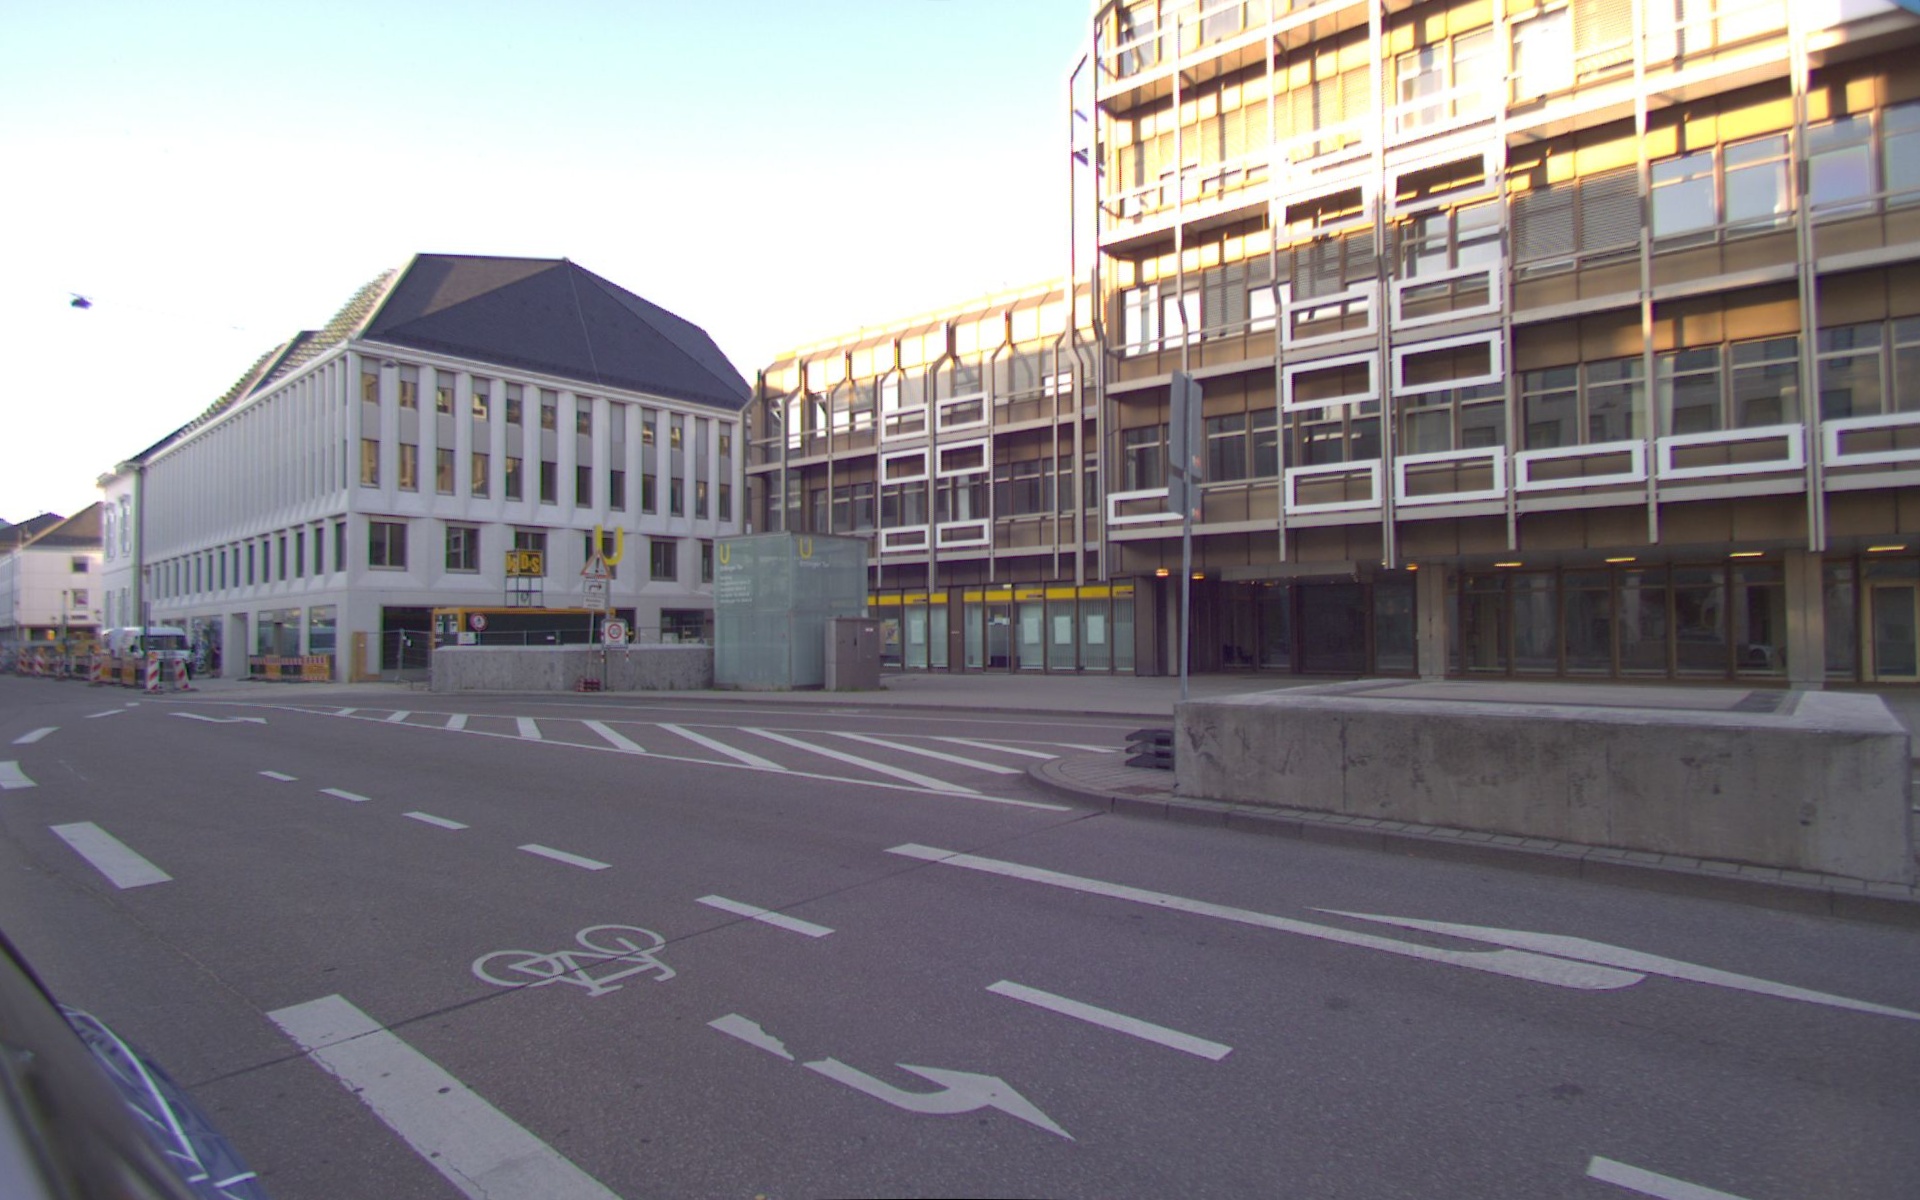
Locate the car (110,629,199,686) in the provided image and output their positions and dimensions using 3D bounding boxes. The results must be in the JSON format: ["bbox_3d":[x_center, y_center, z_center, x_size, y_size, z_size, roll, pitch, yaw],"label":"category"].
[{"bbox_3d":[-37.337,2.637,46.841,5.996,2.489,2.151,-3,-3,41],"label":"car"}]

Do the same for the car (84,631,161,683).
[{"bbox_3d":[-42.907,2.887,51.782,5.996,2.489,2.150,-3,-3,42],"label":"car"}]
